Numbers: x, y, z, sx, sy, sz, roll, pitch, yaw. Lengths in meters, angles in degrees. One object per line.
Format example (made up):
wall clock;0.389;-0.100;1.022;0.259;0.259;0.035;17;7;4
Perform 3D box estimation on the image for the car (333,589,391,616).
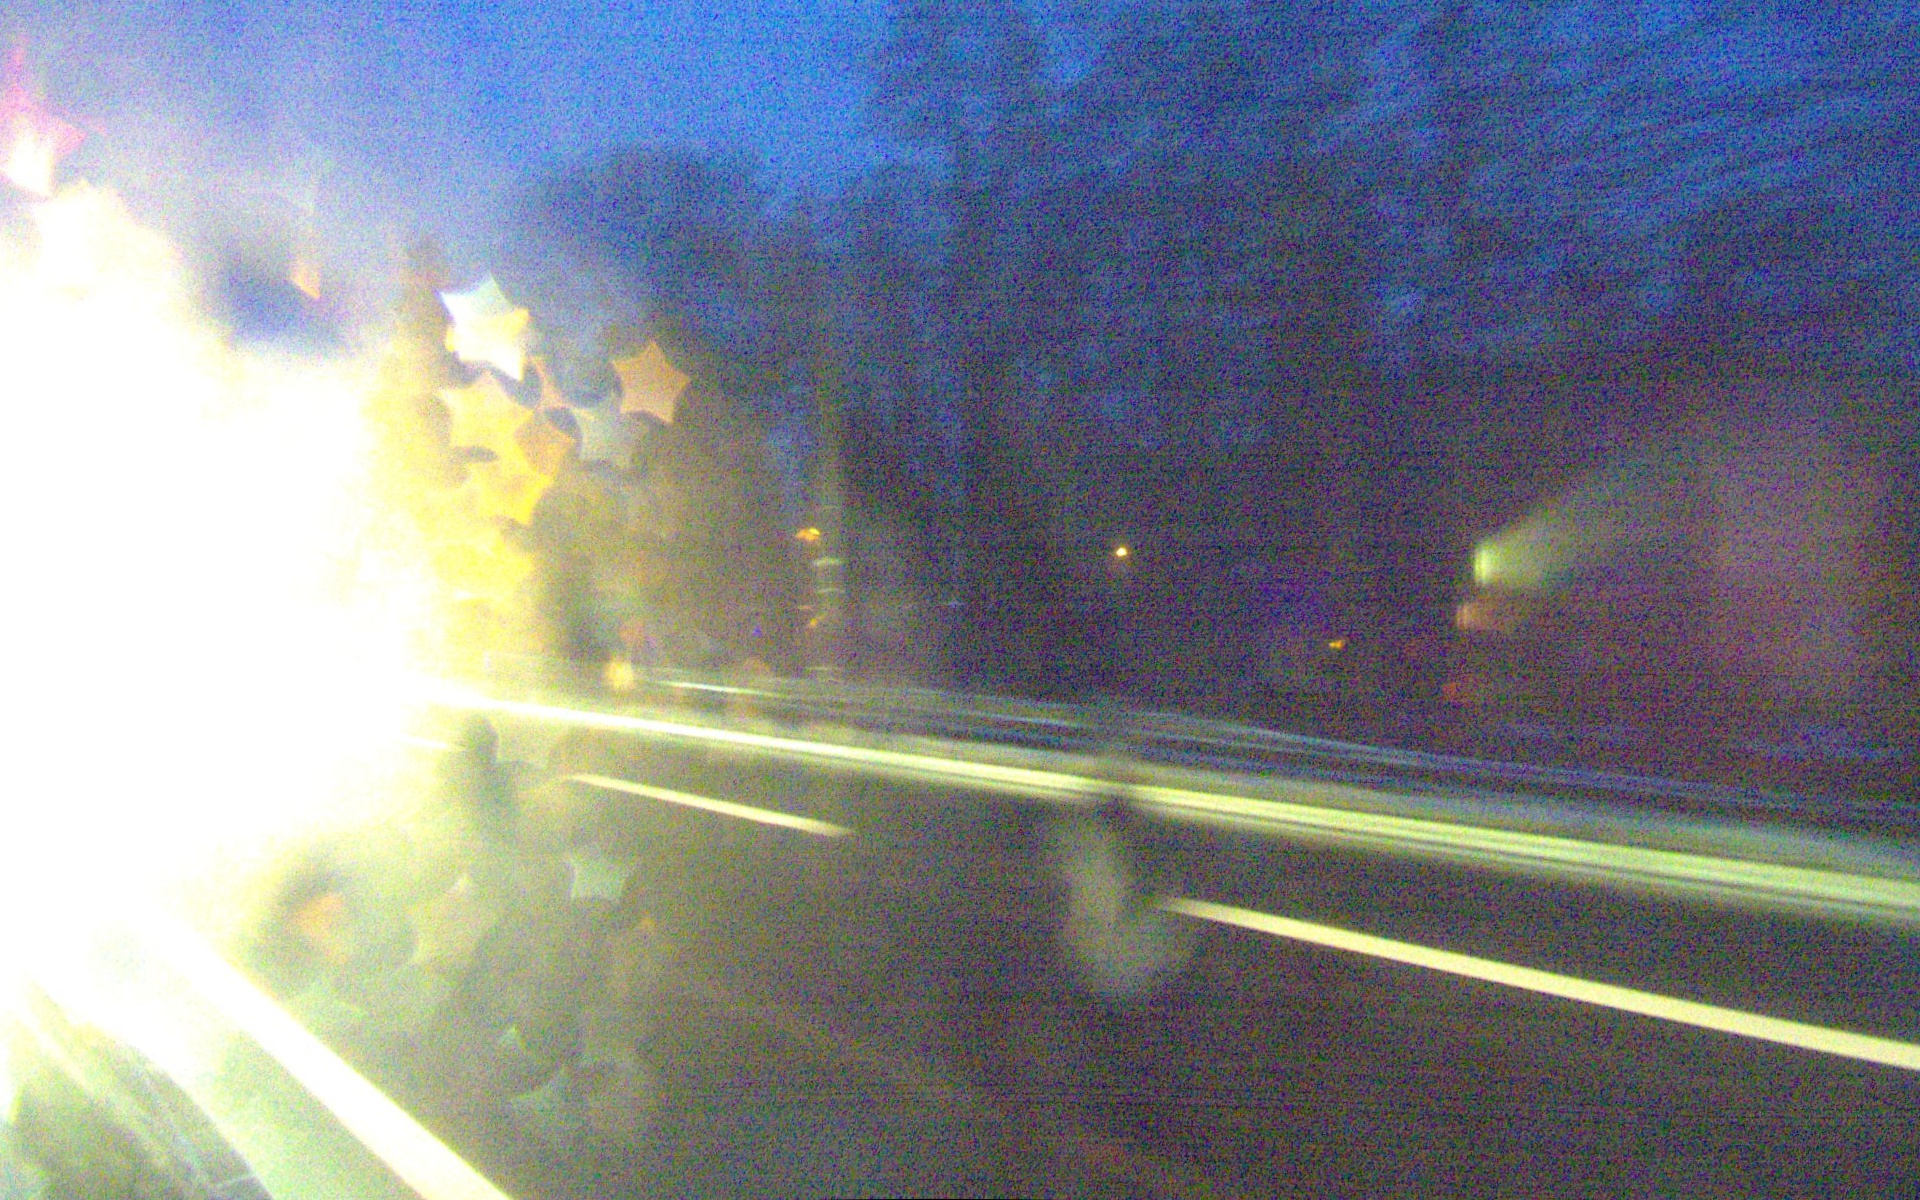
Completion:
car;-38.268;0.143;64.724;4.482;1.598;1.912;2;1;42
